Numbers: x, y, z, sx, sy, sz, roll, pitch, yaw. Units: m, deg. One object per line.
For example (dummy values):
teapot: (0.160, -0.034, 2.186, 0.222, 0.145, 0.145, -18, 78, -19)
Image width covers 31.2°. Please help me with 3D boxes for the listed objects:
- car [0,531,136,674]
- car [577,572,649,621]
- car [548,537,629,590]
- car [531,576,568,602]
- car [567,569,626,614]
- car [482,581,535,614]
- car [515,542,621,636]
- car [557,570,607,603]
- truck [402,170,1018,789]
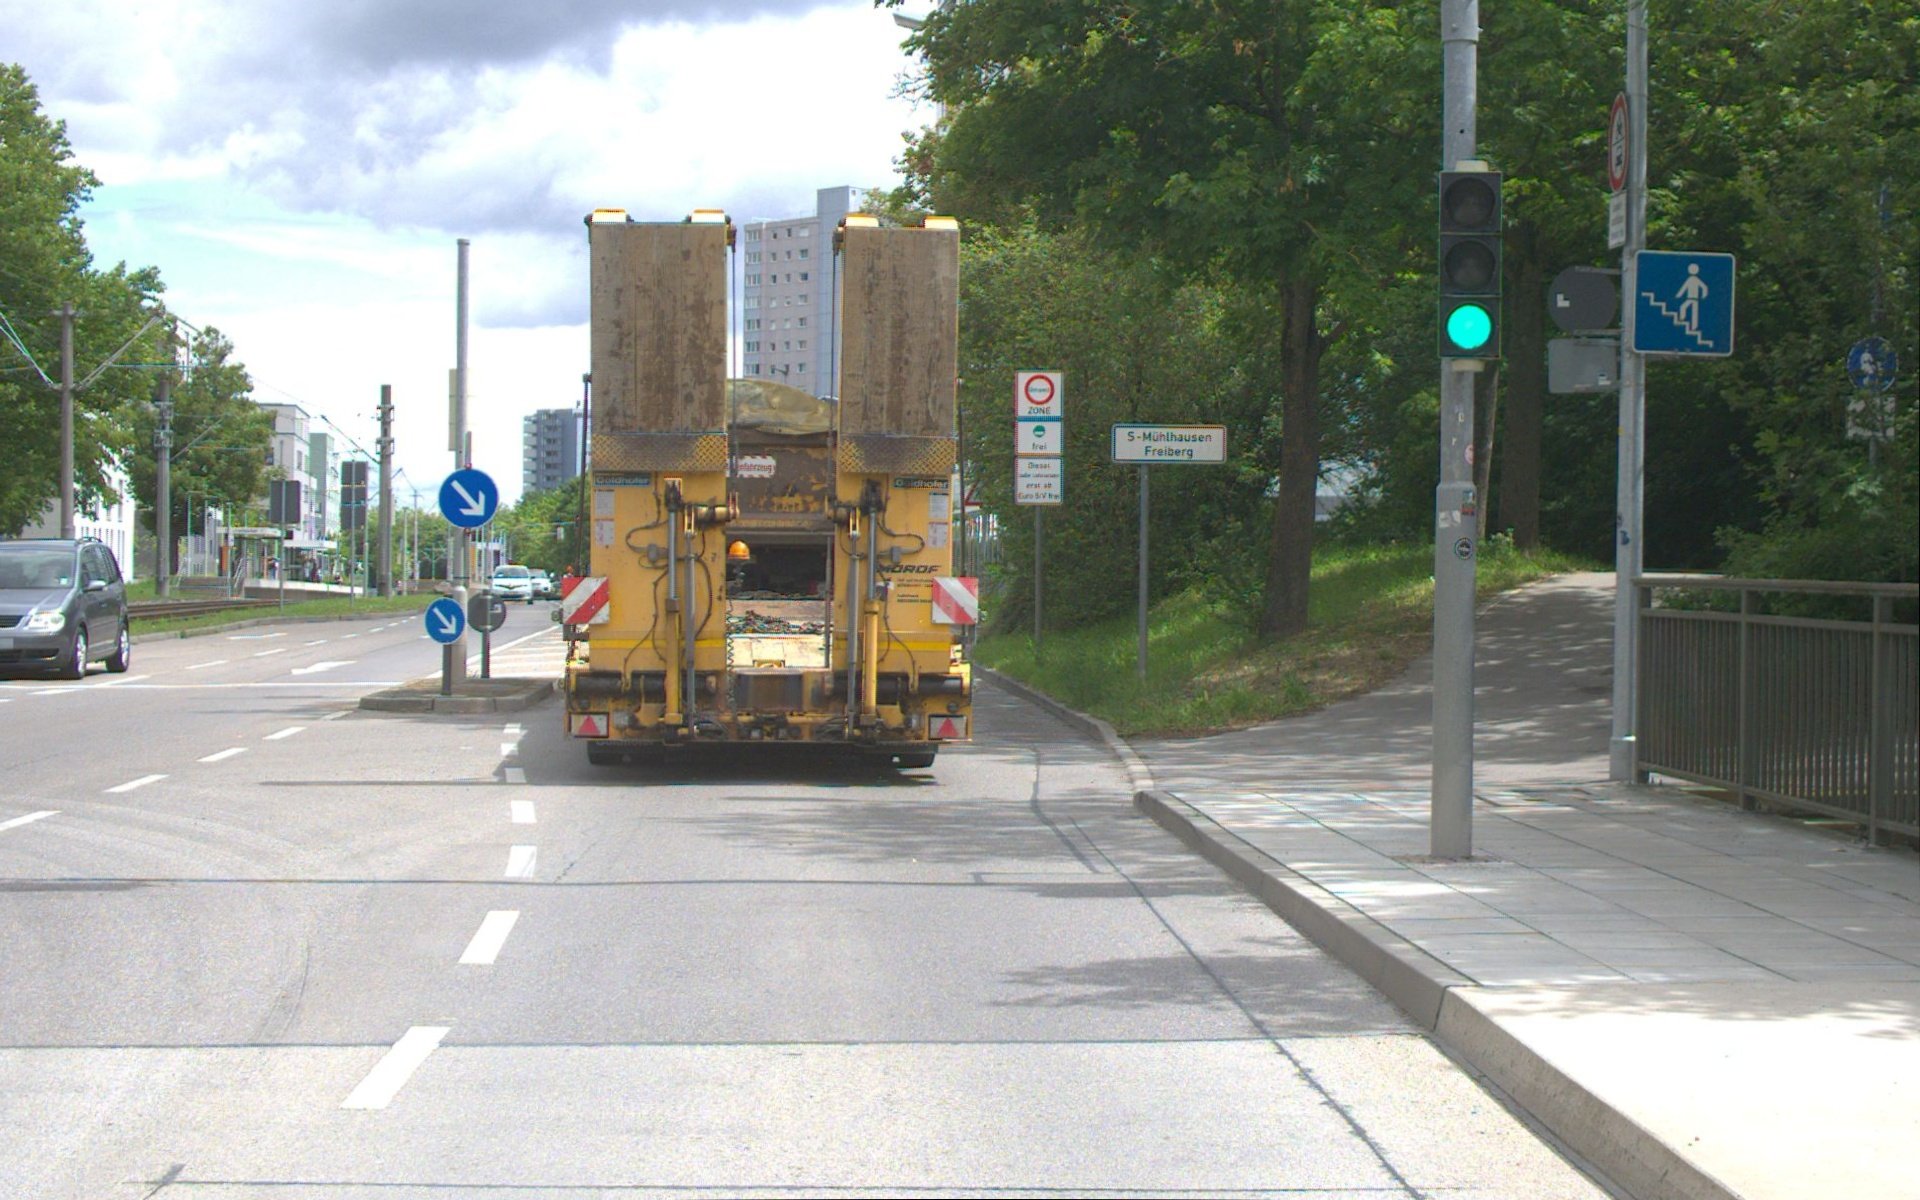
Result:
car: (-10.869, 0.006, 39.956, 1.783, 1.564, 4.345, 1, 0, -4)
car: (-10.961, -0.133, 108.728, 1.993, 1.415, 4.000, 3, 0, -3)
car: (-10.646, -1.050, 98.729, 1.993, 1.415, 4.000, 3, 0, -3)
car: (-21.163, -0.578, 177.278, 1.783, 1.267, 4.346, 1, 0, -5)
car: (-14.067, -0.343, 133.271, 1.993, 1.612, 4.000, 3, 0, -3)
car: (-17.895, -0.115, 136.319, 1.783, 1.267, 4.345, 1, 0, -4)
car: (-8.596, -0.261, 75.689, 1.993, 1.919, 4.000, 3, 0, -3)
car: (-15.105, -0.546, 137.482, 1.783, 1.267, 4.345, 1, 0, -4)
truck: (-1.421, -0.769, 27.209, 3.316, 3.638, 12.561, 2, 0, 2)
